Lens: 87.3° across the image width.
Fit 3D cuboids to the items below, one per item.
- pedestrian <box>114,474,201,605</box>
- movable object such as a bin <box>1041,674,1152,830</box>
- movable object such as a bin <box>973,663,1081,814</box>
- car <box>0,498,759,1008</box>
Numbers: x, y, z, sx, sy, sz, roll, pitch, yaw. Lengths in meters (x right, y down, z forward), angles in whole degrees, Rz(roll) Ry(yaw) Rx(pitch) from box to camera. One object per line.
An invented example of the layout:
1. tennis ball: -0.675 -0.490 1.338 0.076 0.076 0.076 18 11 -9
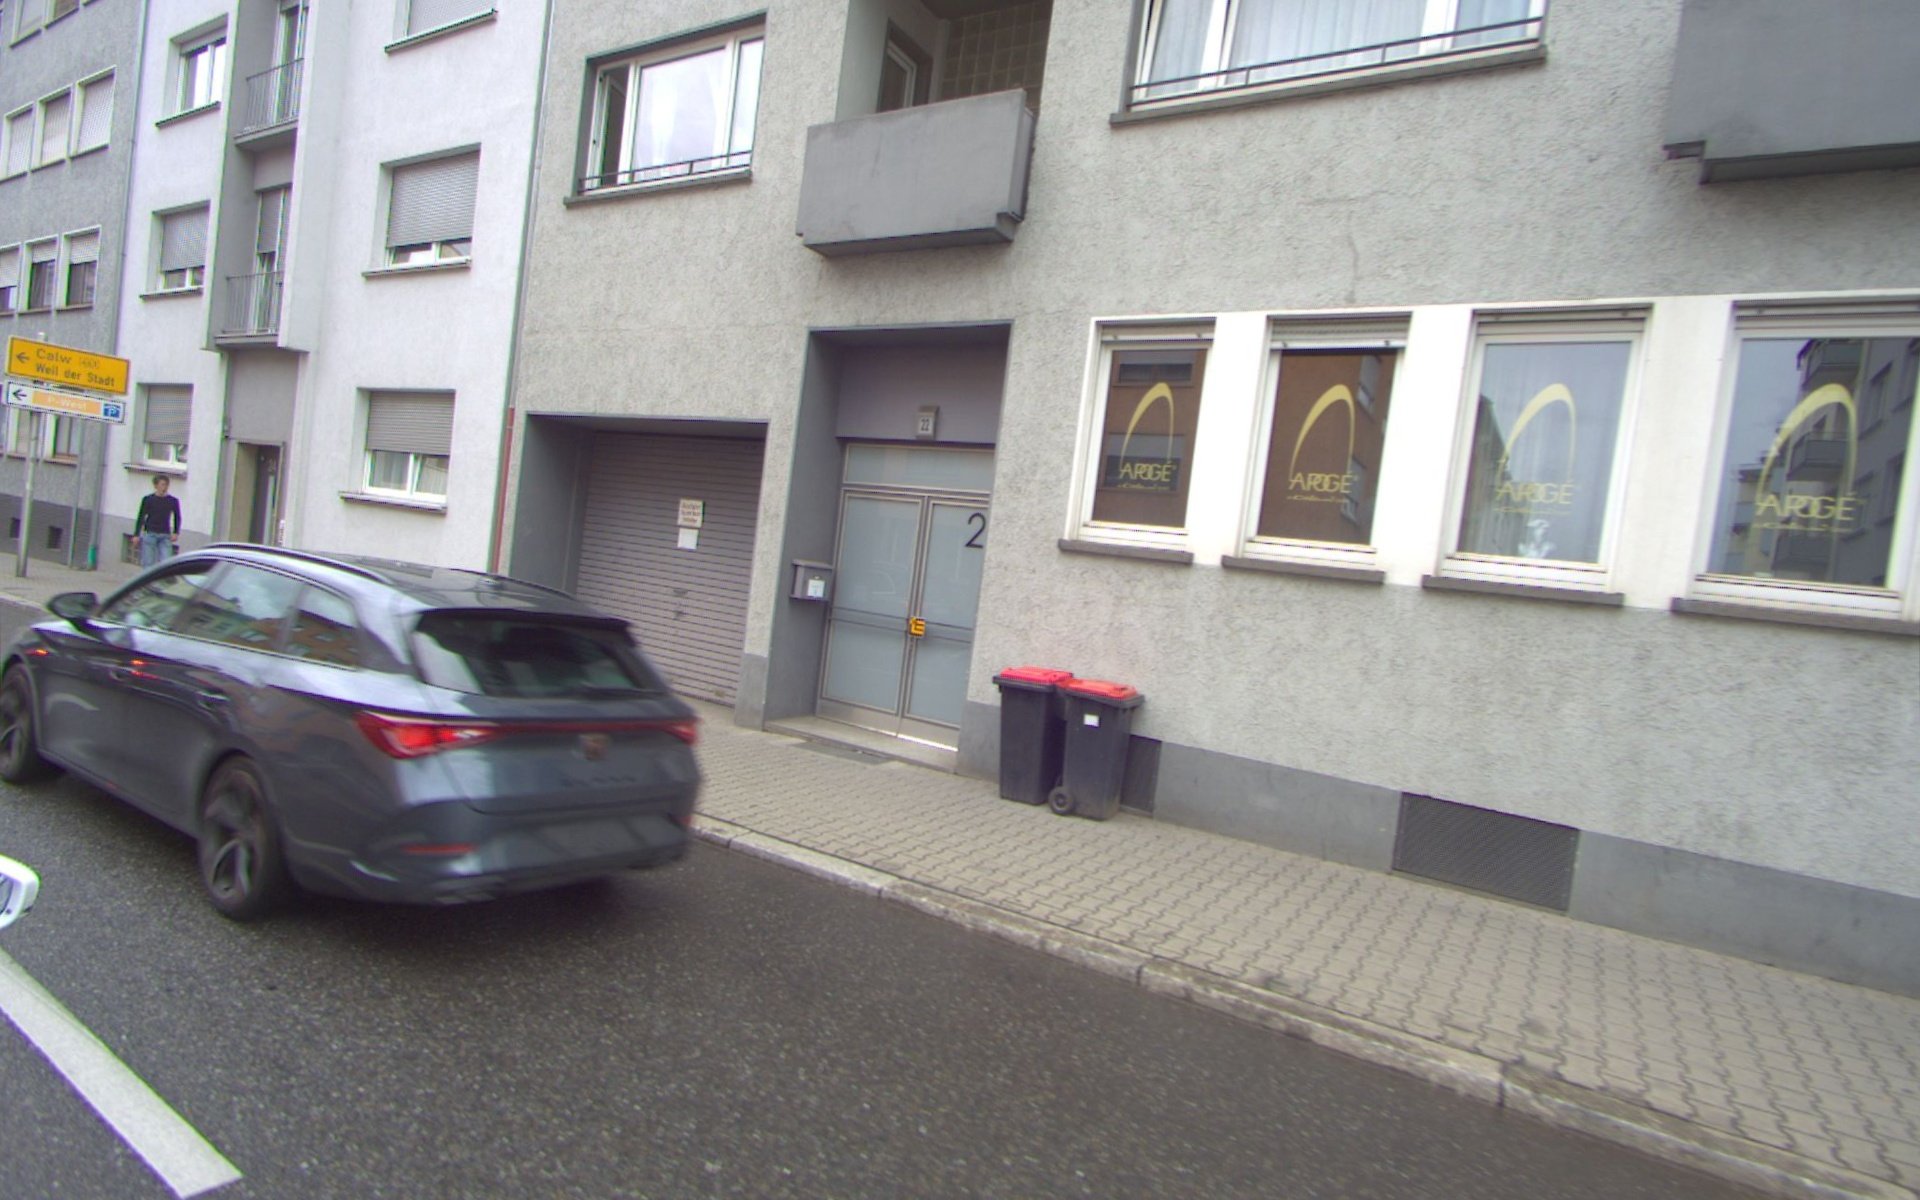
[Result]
1. pedestrian: -11.743 -0.884 14.717 1.039 1.802 0.643 7 4 32
2. movable object such as a bin: 0.968 1.048 7.108 0.507 0.963 0.539 7 4 32
3. movable object such as a bin: 0.489 0.987 7.334 0.507 0.969 0.539 7 4 32
4. car: -3.215 0.452 5.026 4.240 1.447 1.624 7 -2 32
